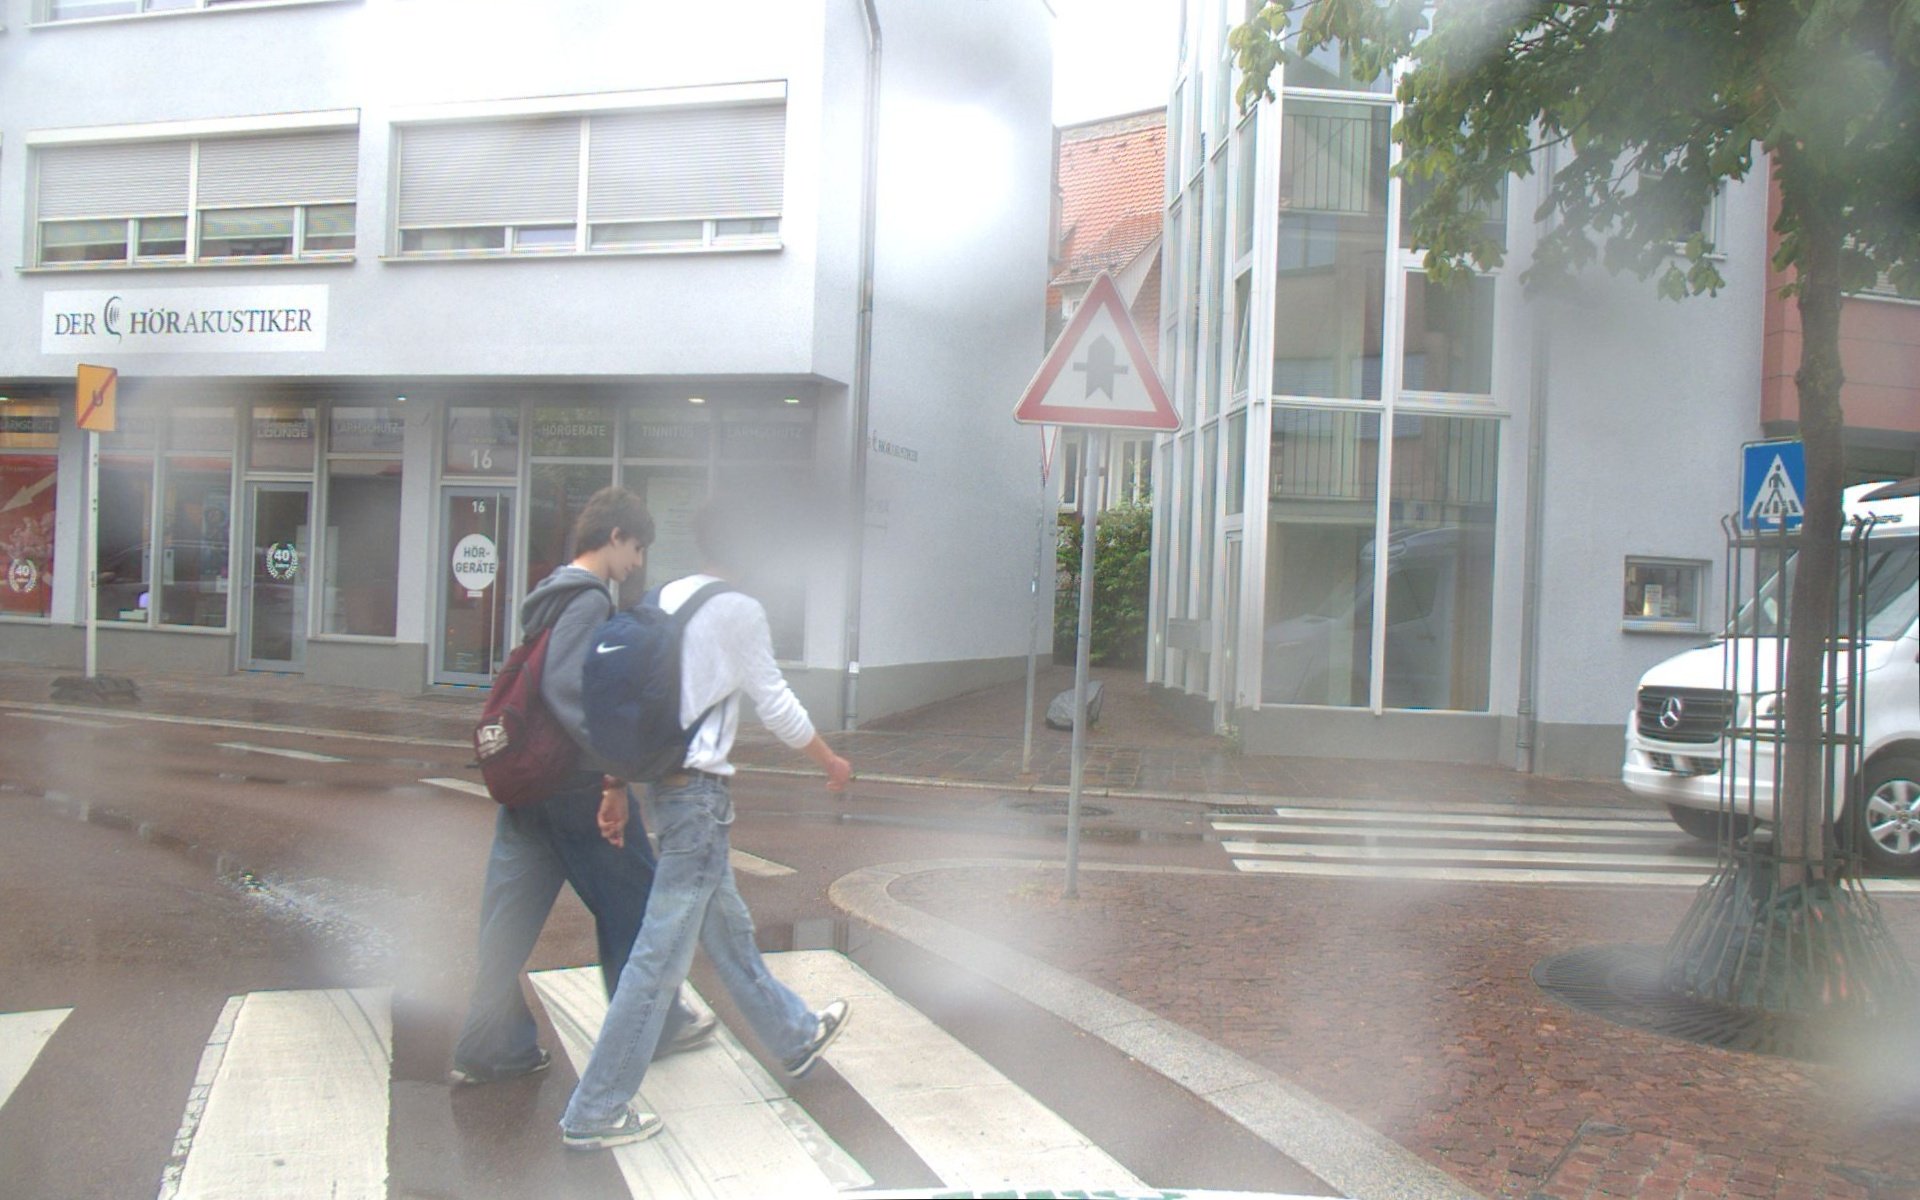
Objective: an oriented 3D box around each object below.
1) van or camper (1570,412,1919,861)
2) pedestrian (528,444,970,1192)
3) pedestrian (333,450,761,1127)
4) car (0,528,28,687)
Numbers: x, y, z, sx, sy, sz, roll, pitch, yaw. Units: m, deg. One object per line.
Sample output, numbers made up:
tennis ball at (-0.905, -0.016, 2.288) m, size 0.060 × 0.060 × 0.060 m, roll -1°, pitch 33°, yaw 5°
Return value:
van or camper at (7.961, 0.348, 11.611) m, size 6.610 × 2.631 × 2.438 m, roll 2°, pitch -1°, yaw -12°
pedestrian at (-0.566, 0.539, 4.693) m, size 0.652 × 1.838 × 1.057 m, roll 1°, pitch -1°, yaw 36°
pedestrian at (-1.244, 0.511, 5.111) m, size 0.680 × 1.832 × 1.055 m, roll 1°, pitch -1°, yaw 34°
car at (-12.223, 0.009, 17.261) m, size 4.360 × 1.659 × 1.783 m, roll 2°, pitch 2°, yaw 15°
